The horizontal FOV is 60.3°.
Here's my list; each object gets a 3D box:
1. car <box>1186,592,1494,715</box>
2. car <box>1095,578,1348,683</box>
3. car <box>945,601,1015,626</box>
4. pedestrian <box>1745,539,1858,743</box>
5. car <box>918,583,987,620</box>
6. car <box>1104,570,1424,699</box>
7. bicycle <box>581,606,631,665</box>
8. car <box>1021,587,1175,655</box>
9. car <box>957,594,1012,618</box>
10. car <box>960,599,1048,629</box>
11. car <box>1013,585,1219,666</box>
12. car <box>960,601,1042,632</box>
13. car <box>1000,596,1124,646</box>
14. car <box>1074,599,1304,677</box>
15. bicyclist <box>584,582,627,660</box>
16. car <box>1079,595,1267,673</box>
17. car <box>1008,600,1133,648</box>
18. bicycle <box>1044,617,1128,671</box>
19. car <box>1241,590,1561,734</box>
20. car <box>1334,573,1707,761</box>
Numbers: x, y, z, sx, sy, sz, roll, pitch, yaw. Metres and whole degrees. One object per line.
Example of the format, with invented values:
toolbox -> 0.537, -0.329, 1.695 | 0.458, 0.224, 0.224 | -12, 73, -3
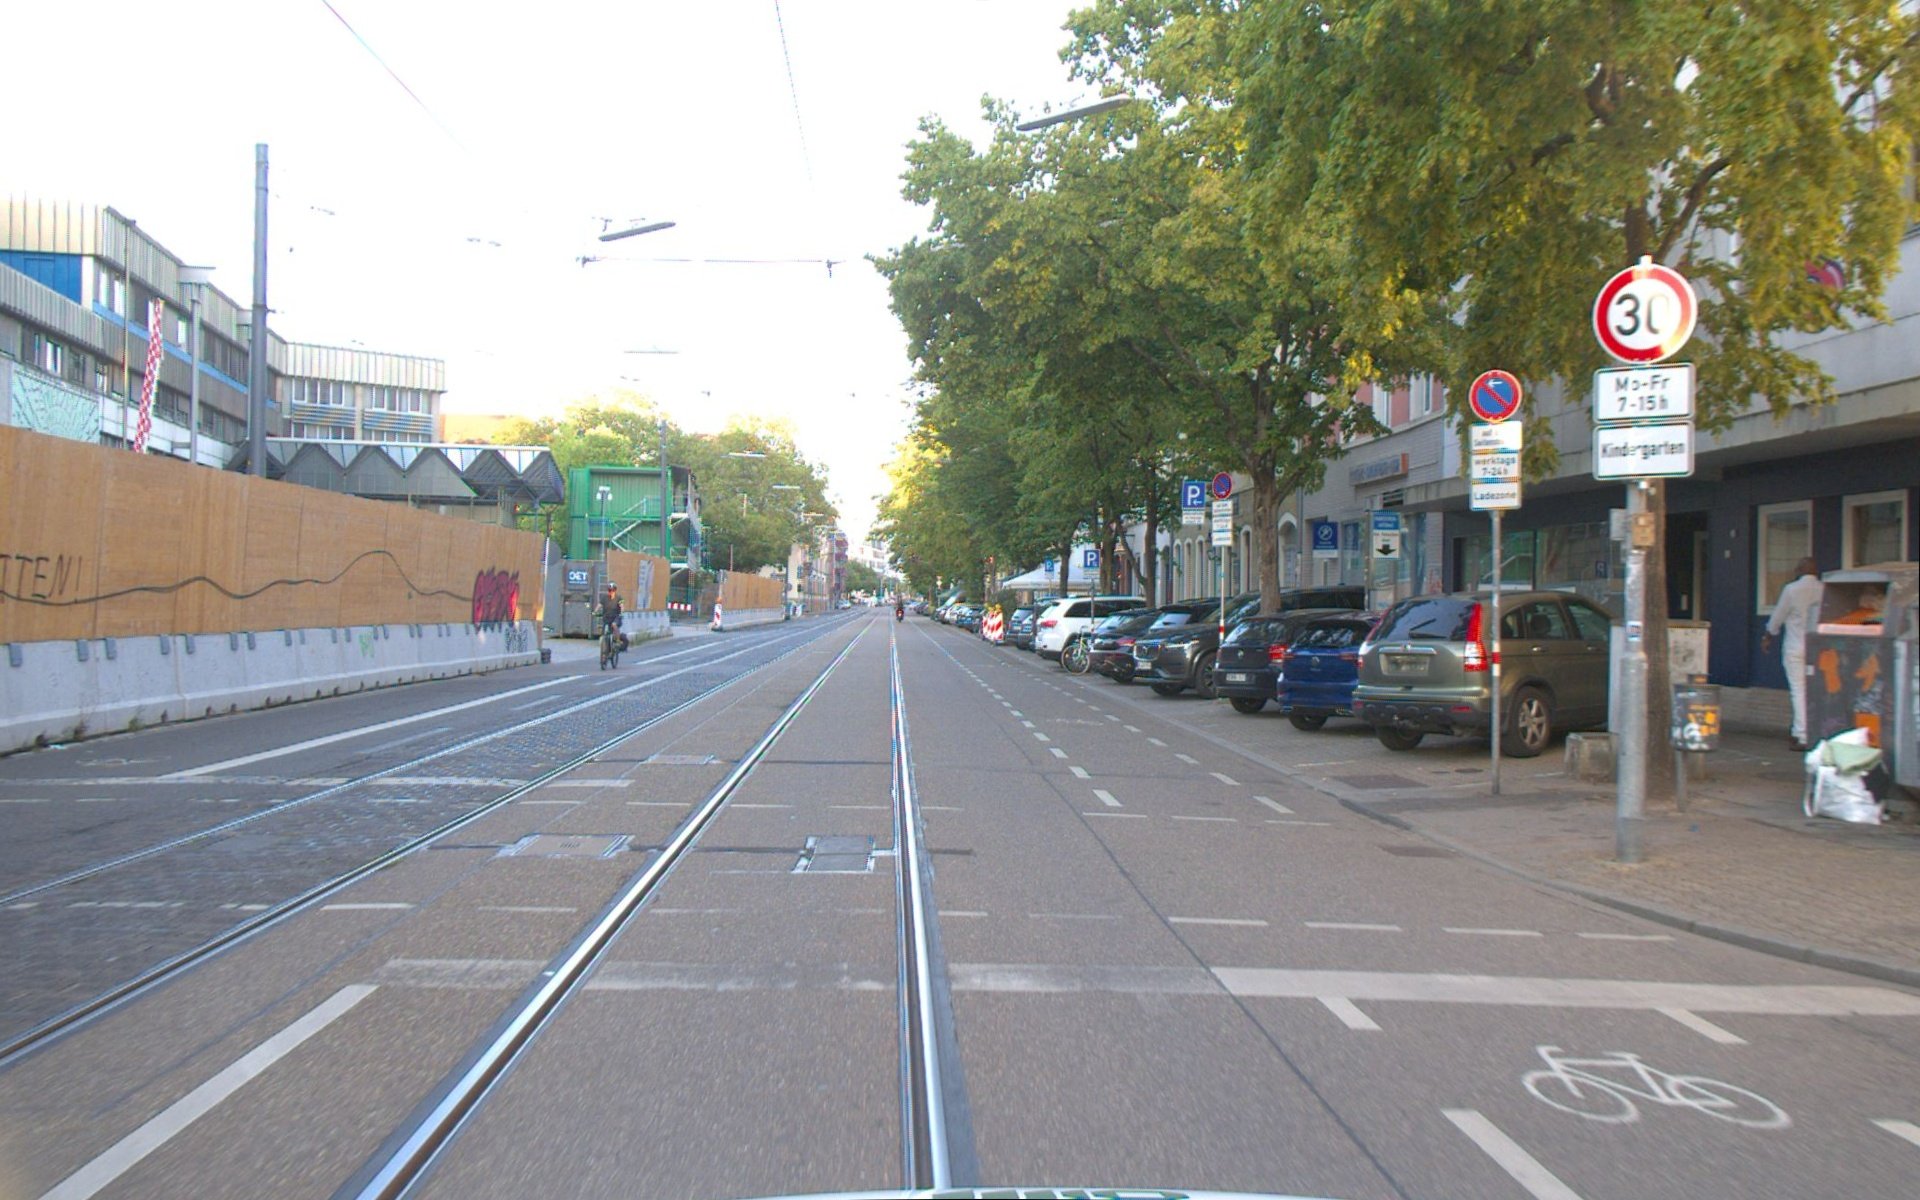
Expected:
car -> 5.499, 0.719, 23.841 | 4.112, 1.490, 1.951 | -3, 0, -31
car -> 4.792, 0.532, 30.389 | 4.152, 1.677, 1.964 | -3, 0, -21
car -> 1.299, 0.872, 106.854 | 4.177, 1.576, 2.013 | -1, 0, -13
pedestrian -> 8.650, 0.411, 17.035 | 0.678, 2.020, 0.785 | -2, 0, -3
car -> -0.576, 0.111, 128.877 | 5.019, 2.689, 2.010 | -1, -1, -20
car -> 5.129, 0.538, 27.992 | 4.893, 1.858, 2.194 | -3, 0, -21
bicycle -> -7.732, 0.763, 36.163 | 0.752, 1.249, 1.935 | 0, 0, -3
car -> 4.030, 0.583, 48.262 | 4.105, 1.838, 1.987 | -1, 0, -31
car -> 1.785, 0.414, 120.316 | 3.871, 1.648, 1.920 | -1, -1, -2
car -> 2.254, 0.717, 84.646 | 4.103, 1.451, 1.811 | 1, 0, -22
car -> 3.690, 0.581, 39.606 | 4.560, 1.717, 2.005 | -2, 0, -7
car -> 2.211, 0.886, 89.474 | 4.057, 1.496, 1.812 | -3, 0, -21
car -> 3.483, 0.700, 56.273 | 3.916, 1.580, 1.690 | -1, 0, -28
car -> 4.559, 0.718, 32.919 | 4.158, 1.451, 1.961 | 0, 0, -25
bicyclist -> -7.744, 0.454, 36.148 | 0.753, 1.695, 1.017 | 0, 0, -3
car -> 4.605, 0.714, 35.748 | 3.703, 1.451, 1.712 | -3, 0, -27
car -> 3.582, 0.766, 53.685 | 3.729, 1.432, 1.690 | -1, 0, -28
bicycle -> 2.848, 0.993, 37.441 | 1.806, 1.122, 0.496 | -3, 1, -17
car -> 5.597, 0.724, 20.881 | 3.847, 1.528, 1.792 | -3, 0, -34
car -> 6.142, 0.645, 17.958 | 4.124, 1.693, 1.818 | -3, 0, -37
